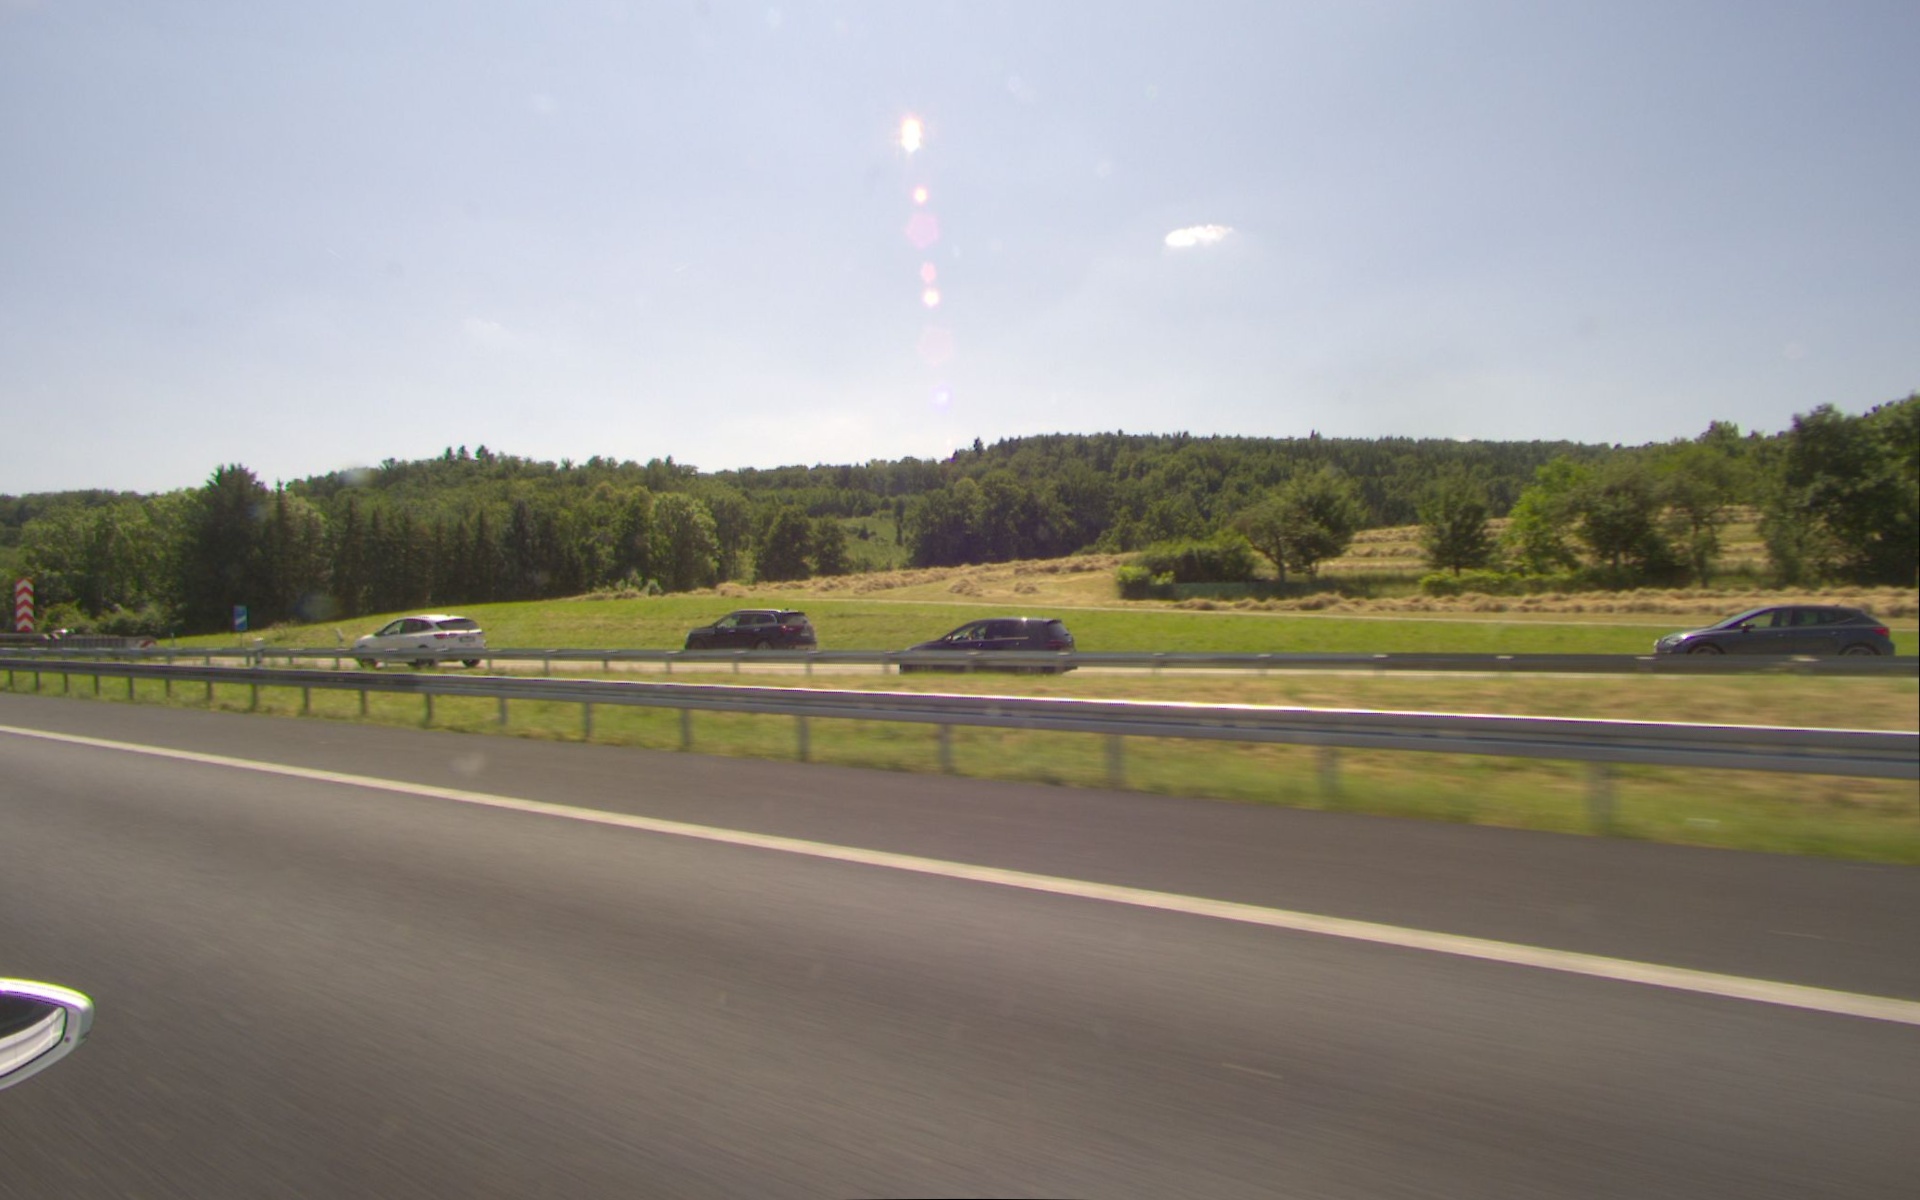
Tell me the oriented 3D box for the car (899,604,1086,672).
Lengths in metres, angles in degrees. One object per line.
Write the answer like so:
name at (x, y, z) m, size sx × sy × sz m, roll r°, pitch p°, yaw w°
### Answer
car at (0.745, 0.876, 22.976) m, size 3.902 × 1.454 × 1.795 m, roll -1°, pitch -2°, yaw 26°

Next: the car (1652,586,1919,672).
car at (17.895, 0.631, 21.170) m, size 5.149 × 1.683 × 1.992 m, roll -1°, pitch -2°, yaw 29°

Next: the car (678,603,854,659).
car at (-6.225, 1.016, 31.990) m, size 5.540 × 1.683 × 1.993 m, roll -1°, pitch -2°, yaw 28°

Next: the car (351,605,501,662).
car at (-16.933, 1.080, 31.771) m, size 4.396 × 1.683 × 1.994 m, roll -1°, pitch -2°, yaw 26°
